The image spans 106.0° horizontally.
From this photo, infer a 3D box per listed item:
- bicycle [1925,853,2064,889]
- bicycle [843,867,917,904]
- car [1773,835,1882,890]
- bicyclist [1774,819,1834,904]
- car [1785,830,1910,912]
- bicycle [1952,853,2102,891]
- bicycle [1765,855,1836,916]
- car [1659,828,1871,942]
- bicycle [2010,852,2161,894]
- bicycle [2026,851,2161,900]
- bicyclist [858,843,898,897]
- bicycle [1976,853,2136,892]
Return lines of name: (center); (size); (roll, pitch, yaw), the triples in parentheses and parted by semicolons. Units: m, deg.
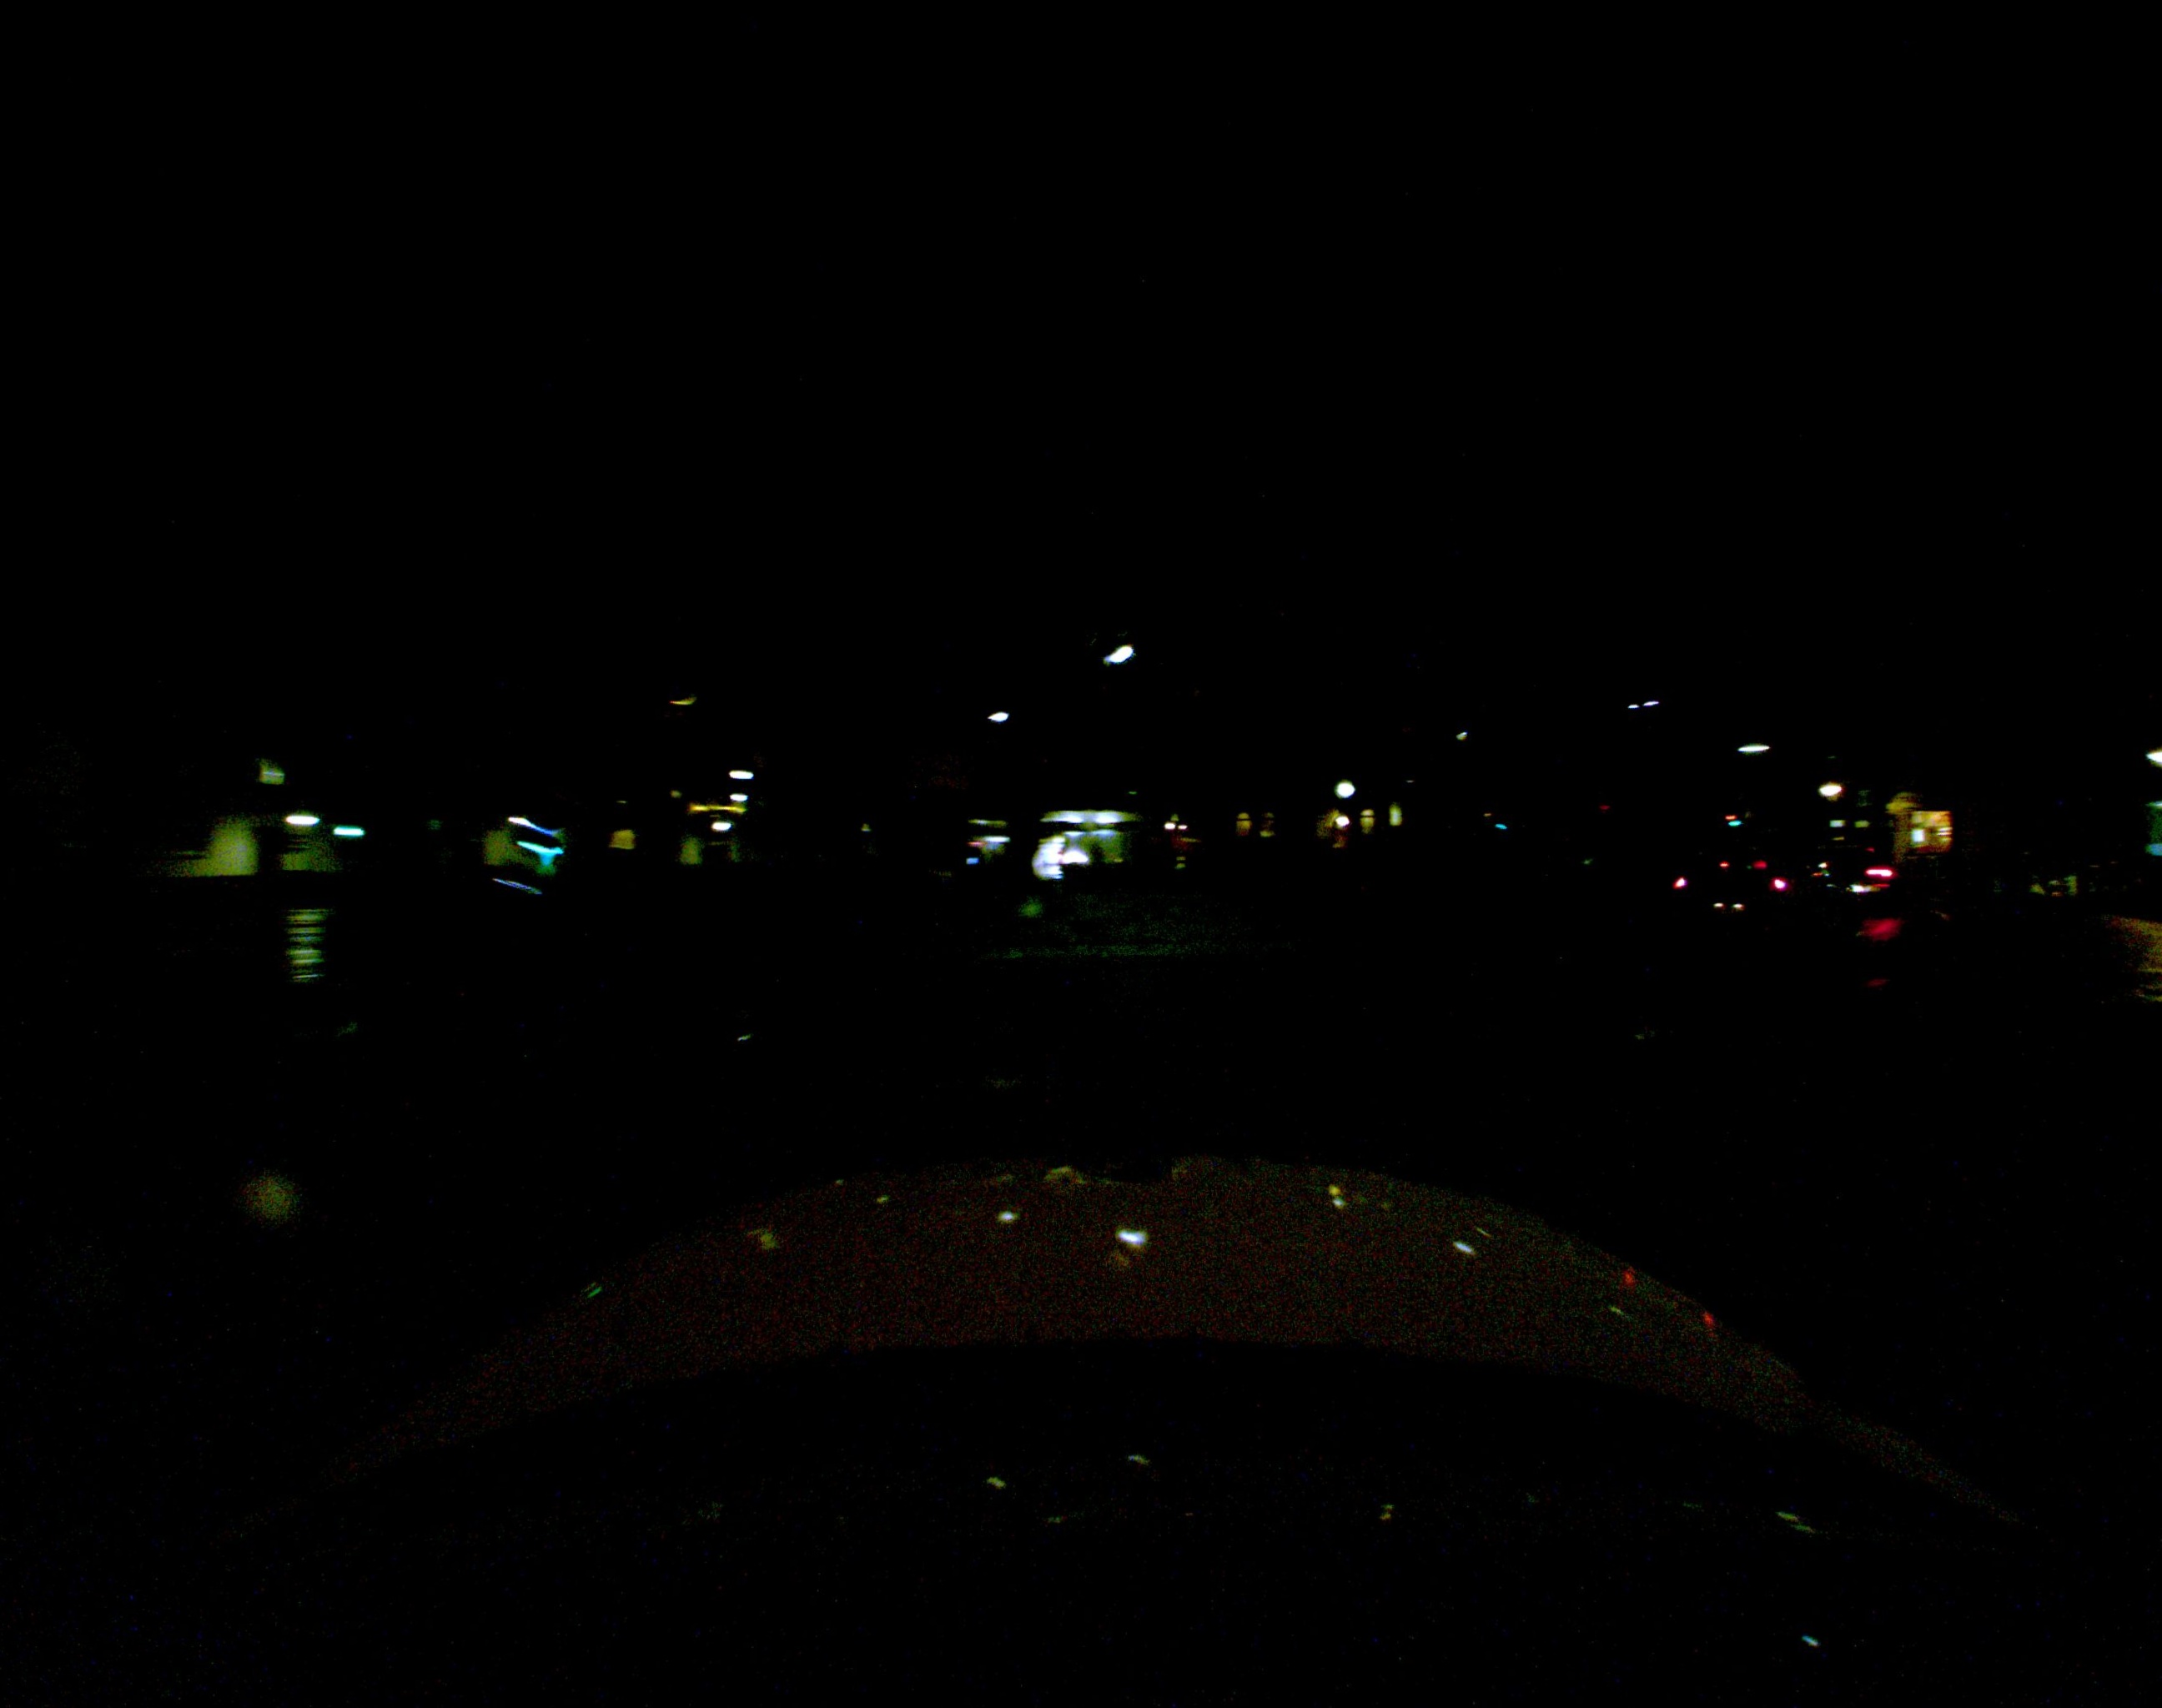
bicycle: (27.647, 0.512, 24.719); (2.741, 1.026, 0.729); (0, 0, 27)
bicycle: (-5.250, 0.813, 21.322); (1.787, 0.931, 0.495); (1, 0, -26)
car: (25.733, 0.288, 28.231); (1.974, 1.728, 4.025); (1, 0, 31)
bicyclist: (14.742, 0.145, 16.612); (0.711, 1.675, 0.790); (2, -1, -38)
car: (18.079, 0.369, 19.327); (1.975, 1.728, 4.024); (1, 0, 42)
bicycle: (27.002, 0.499, 23.325); (2.741, 1.026, 0.729); (0, 0, 27)
bicycle: (14.598, 0.625, 16.507); (1.724, 1.149, 0.768); (2, 0, -38)
car: (11.134, 0.469, 13.217); (3.474, 1.613, 1.718); (1, 0, -34)
bicycle: (25.866, 0.479, 20.837); (2.743, 1.026, 0.729); (-1, 0, 22)
bicycle: (24.918, 0.499, 19.648); (0.729, 1.129, 2.743); (-1, 1, -40)
bicyclist: (-5.309, 0.421, 21.308); (0.896, 1.380, 0.500); (2, 0, -25)
bicycle: (26.521, 0.490, 22.230); (2.741, 1.026, 0.729); (0, 0, 27)
